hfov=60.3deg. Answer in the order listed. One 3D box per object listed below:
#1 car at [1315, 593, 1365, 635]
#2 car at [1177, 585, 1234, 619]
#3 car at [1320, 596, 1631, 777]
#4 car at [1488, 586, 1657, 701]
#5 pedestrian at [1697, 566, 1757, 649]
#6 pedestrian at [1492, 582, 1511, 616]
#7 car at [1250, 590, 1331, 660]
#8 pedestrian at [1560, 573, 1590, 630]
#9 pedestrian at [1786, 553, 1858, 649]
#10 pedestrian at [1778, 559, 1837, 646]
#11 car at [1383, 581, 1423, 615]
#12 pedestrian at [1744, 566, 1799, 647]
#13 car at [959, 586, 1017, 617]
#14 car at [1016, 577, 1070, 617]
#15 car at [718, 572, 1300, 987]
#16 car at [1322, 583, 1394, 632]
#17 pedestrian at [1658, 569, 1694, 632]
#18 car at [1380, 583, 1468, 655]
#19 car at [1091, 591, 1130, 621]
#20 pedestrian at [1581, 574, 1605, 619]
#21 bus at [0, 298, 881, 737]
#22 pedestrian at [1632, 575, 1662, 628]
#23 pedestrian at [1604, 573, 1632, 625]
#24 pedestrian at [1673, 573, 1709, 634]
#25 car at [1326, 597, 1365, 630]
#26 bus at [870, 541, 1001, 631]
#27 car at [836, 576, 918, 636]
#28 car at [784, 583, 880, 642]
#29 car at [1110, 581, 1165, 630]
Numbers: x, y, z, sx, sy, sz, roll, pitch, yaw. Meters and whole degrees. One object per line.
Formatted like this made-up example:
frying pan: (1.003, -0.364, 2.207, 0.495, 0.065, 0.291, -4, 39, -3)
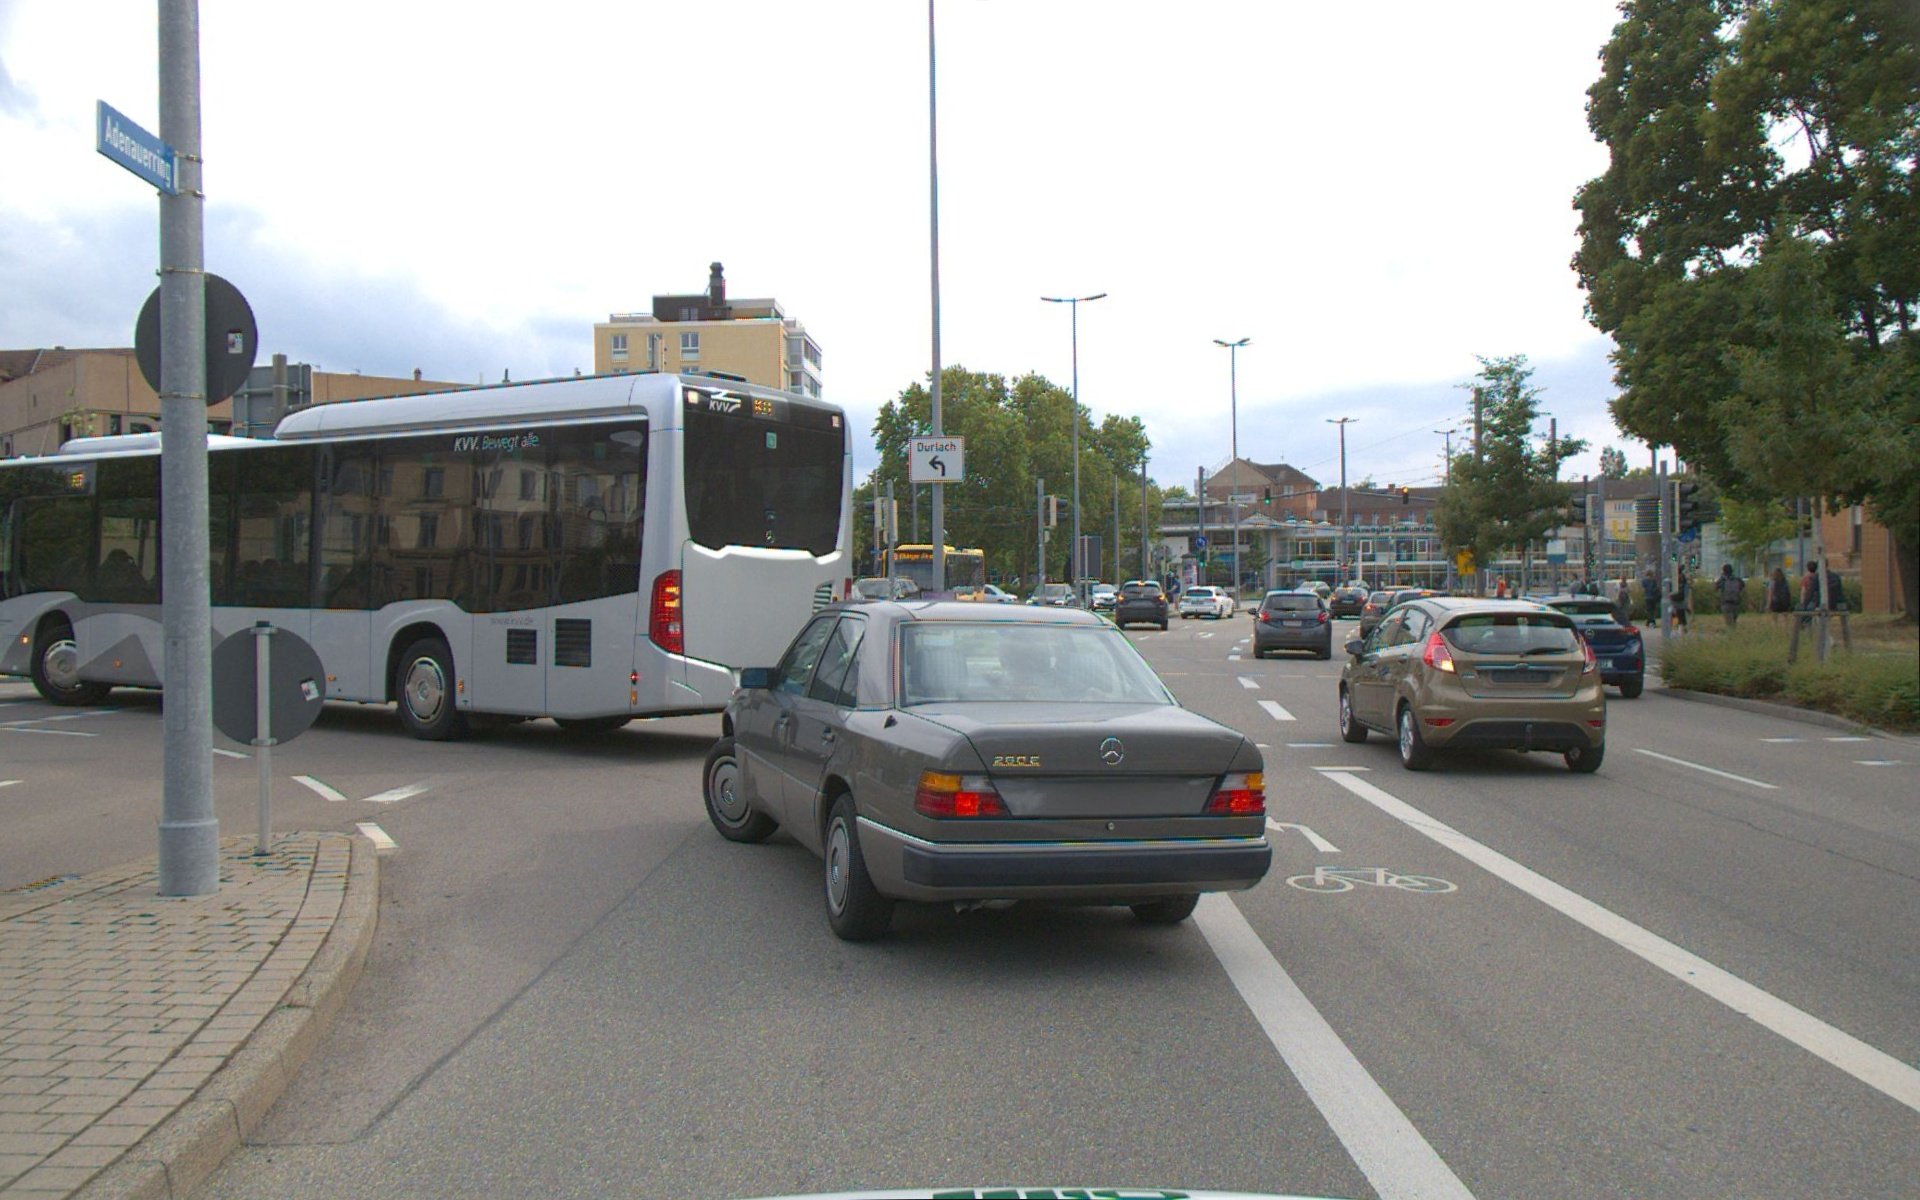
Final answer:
car: (14.030, 0.514, 60.943, 1.674, 1.445, 4.003, 1, 0, 14)
car: (10.908, 0.100, 73.275, 1.675, 1.445, 4.000, 1, 0, 21)
car: (4.545, 0.703, 15.139, 1.660, 1.429, 3.699, 1, 0, 0)
car: (8.962, 0.602, 24.456, 1.630, 1.534, 3.637, 1, 0, 9)
pedestrian: (16.425, 0.158, 35.449, 0.762, 1.741, 1.027, 1, 0, -2)
pedestrian: (25.893, -0.055, 79.097, 0.762, 1.601, 0.812, -2, 0, 20)
car: (7.471, 0.538, 37.180, 1.674, 1.445, 4.003, 1, 0, 13)
pedestrian: (17.788, 0.051, 47.826, 0.762, 1.601, 0.812, -2, 0, 20)
pedestrian: (15.949, 0.018, 30.620, 0.762, 1.741, 1.027, 1, 0, -2)
pedestrian: (17.394, 0.055, 33.948, 0.762, 1.741, 0.812, 1, 0, -3)
car: (19.647, -0.061, 73.486, 1.667, 1.445, 3.703, 1, 0, 14)
pedestrian: (17.602, 0.142, 35.875, 0.762, 1.741, 0.812, 1, 0, -3)
car: (1.869, 0.099, 111.077, 1.976, 2.049, 3.952, 1, 0, -34)
car: (3.751, -0.128, 73.831, 1.951, 1.680, 4.516, 1, 0, 8)
car: (-0.078, 0.662, 8.378, 1.668, 1.506, 4.396, 1, 0, -16)
car: (12.447, 0.235, 51.680, 2.087, 1.445, 3.703, 1, 0, 14)
pedestrian: (18.615, 0.008, 42.989, 0.762, 1.601, 0.812, -2, 0, 20)
car: (10.745, 0.422, 38.487, 1.818, 1.559, 4.005, 1, 0, 14)
car: (8.809, 0.349, 96.513, 1.951, 1.680, 4.516, 1, 0, 8)
pedestrian: (22.893, -0.136, 59.820, 0.762, 1.601, 0.812, -2, 0, 20)
bus: (-7.181, -0.486, 18.390, 13.898, 3.498, 2.703, -2, 0, 36)
pedestrian: (21.059, 0.044, 50.716, 0.762, 1.601, 0.812, -2, 0, 20)
pedestrian: (20.996, -0.031, 52.784, 0.762, 1.601, 0.812, -2, 0, 20)
pedestrian: (19.620, 0.096, 44.395, 0.762, 1.601, 0.812, -2, 0, 20)
car: (17.691, 0.614, 75.791, 1.674, 1.445, 4.003, 1, 0, 14)
bus: (-0.776, -0.495, 67.816, 3.080, 3.312, 12.424, 1, 0, 10)
car: (-2.800, 0.211, 56.733, 1.951, 1.932, 4.293, 1, 0, 8)
car: (-3.807, 0.371, 50.036, 1.951, 1.680, 4.293, 1, 0, 8)
car: (6.257, 0.189, 58.118, 1.795, 1.643, 3.549, 1, 0, 8)
